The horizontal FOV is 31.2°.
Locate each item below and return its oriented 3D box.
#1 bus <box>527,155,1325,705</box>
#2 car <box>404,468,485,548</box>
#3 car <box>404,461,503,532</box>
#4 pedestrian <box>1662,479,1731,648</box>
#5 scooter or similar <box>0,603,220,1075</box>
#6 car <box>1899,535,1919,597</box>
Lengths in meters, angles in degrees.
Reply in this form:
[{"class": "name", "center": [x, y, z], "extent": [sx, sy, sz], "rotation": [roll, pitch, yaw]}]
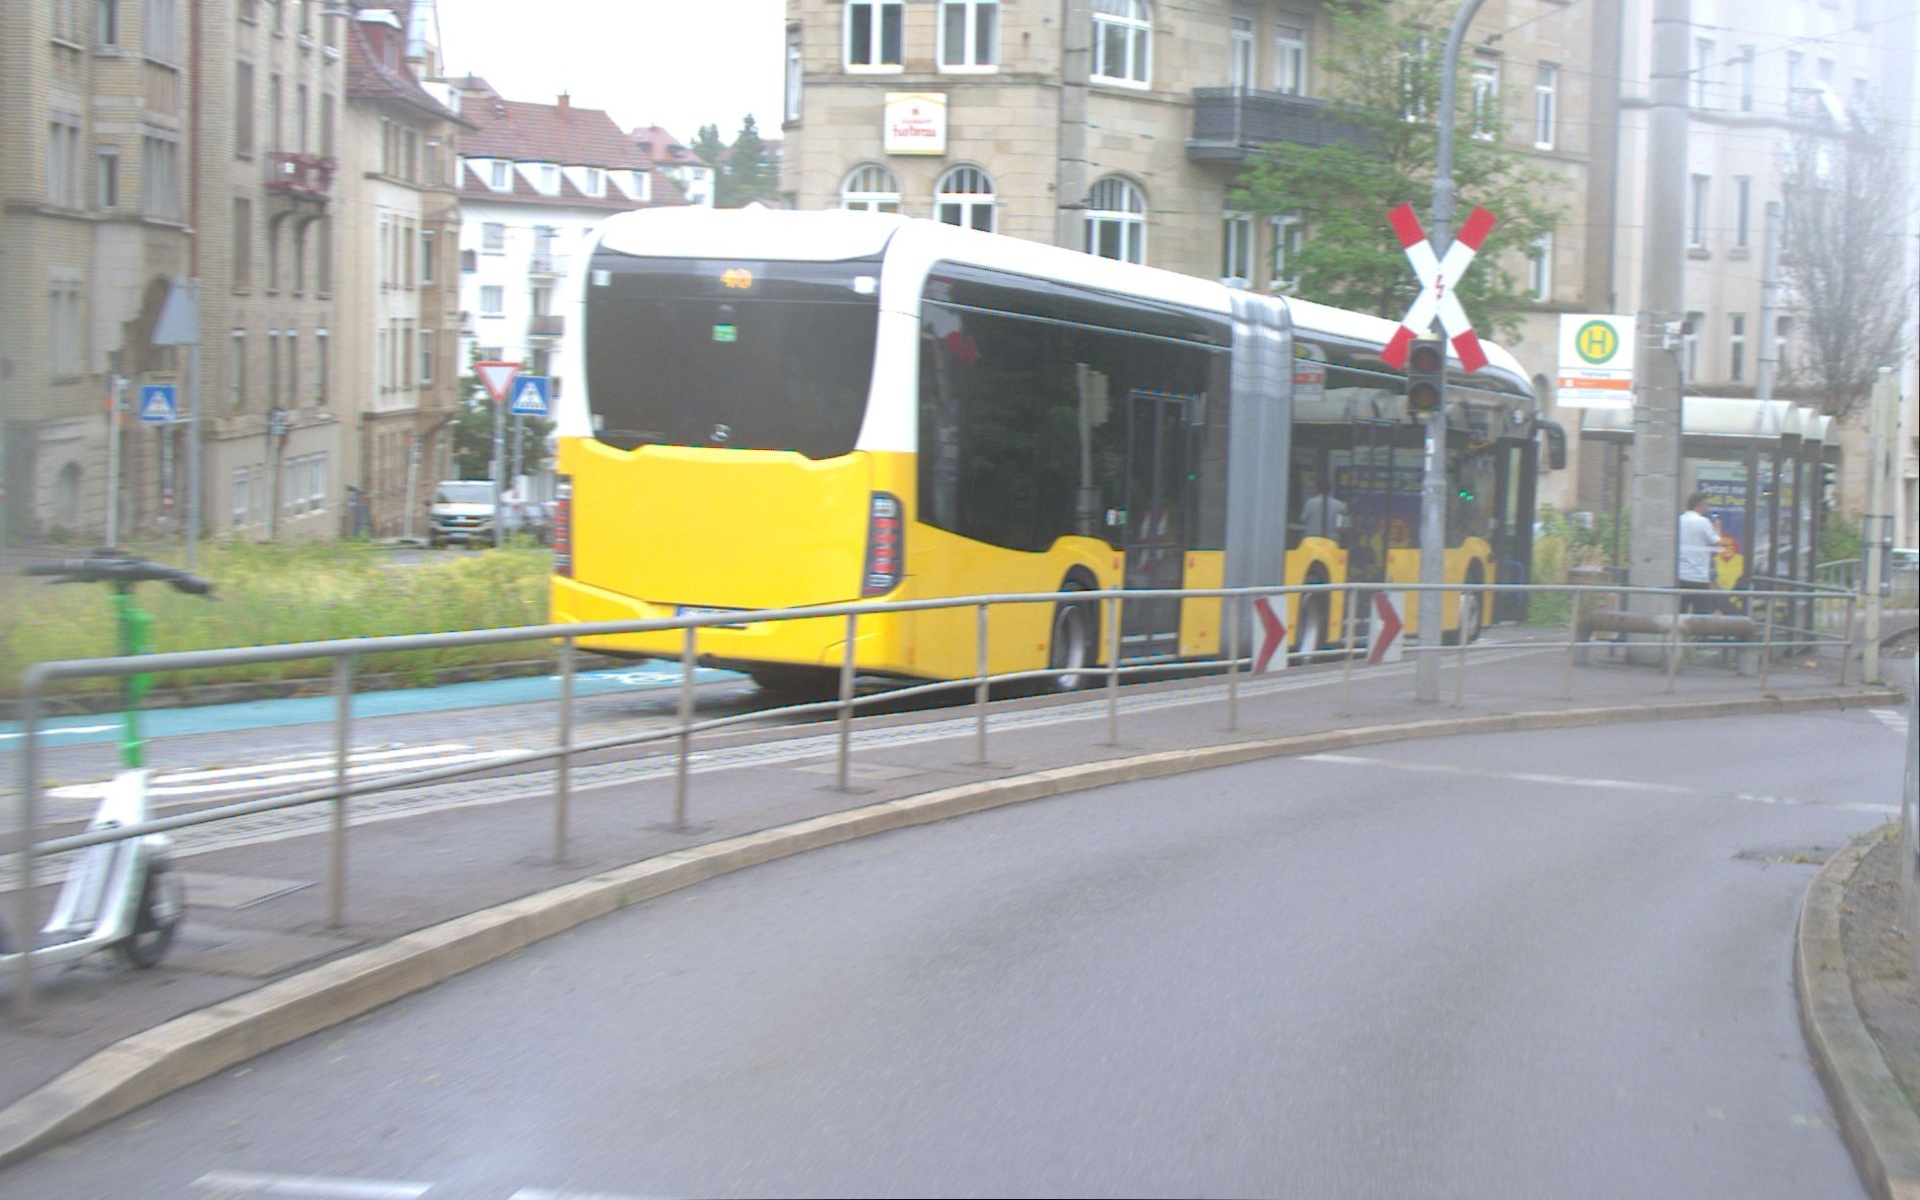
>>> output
[{"class": "bus", "center": [0.166, -1.141, 26.317], "extent": [2.593, 3.457, 9.096], "rotation": [2, 1, 23]}, {"class": "car", "center": [-14.653, -2.609, 97.538], "extent": [2.137, 2.129, 4.858], "rotation": [2, 1, -9]}, {"class": "car", "center": [-15.914, -3.234, 108.243], "extent": [2.137, 2.129, 4.857], "rotation": [2, 1, 3]}, {"class": "pedestrian", "center": [7.717, -0.385, 36.025], "extent": [0.576, 1.746, 0.543], "rotation": [2, 1, 20]}, {"class": "scooter or similar", "center": [-2.478, 0.592, 9.165], "extent": [0.433, 1.109, 1.605], "rotation": [3, 2, 7]}, {"class": "car", "center": [26.800, -0.899, 92.074], "extent": [1.927, 1.617, 4.527], "rotation": [2, 1, 32]}]
